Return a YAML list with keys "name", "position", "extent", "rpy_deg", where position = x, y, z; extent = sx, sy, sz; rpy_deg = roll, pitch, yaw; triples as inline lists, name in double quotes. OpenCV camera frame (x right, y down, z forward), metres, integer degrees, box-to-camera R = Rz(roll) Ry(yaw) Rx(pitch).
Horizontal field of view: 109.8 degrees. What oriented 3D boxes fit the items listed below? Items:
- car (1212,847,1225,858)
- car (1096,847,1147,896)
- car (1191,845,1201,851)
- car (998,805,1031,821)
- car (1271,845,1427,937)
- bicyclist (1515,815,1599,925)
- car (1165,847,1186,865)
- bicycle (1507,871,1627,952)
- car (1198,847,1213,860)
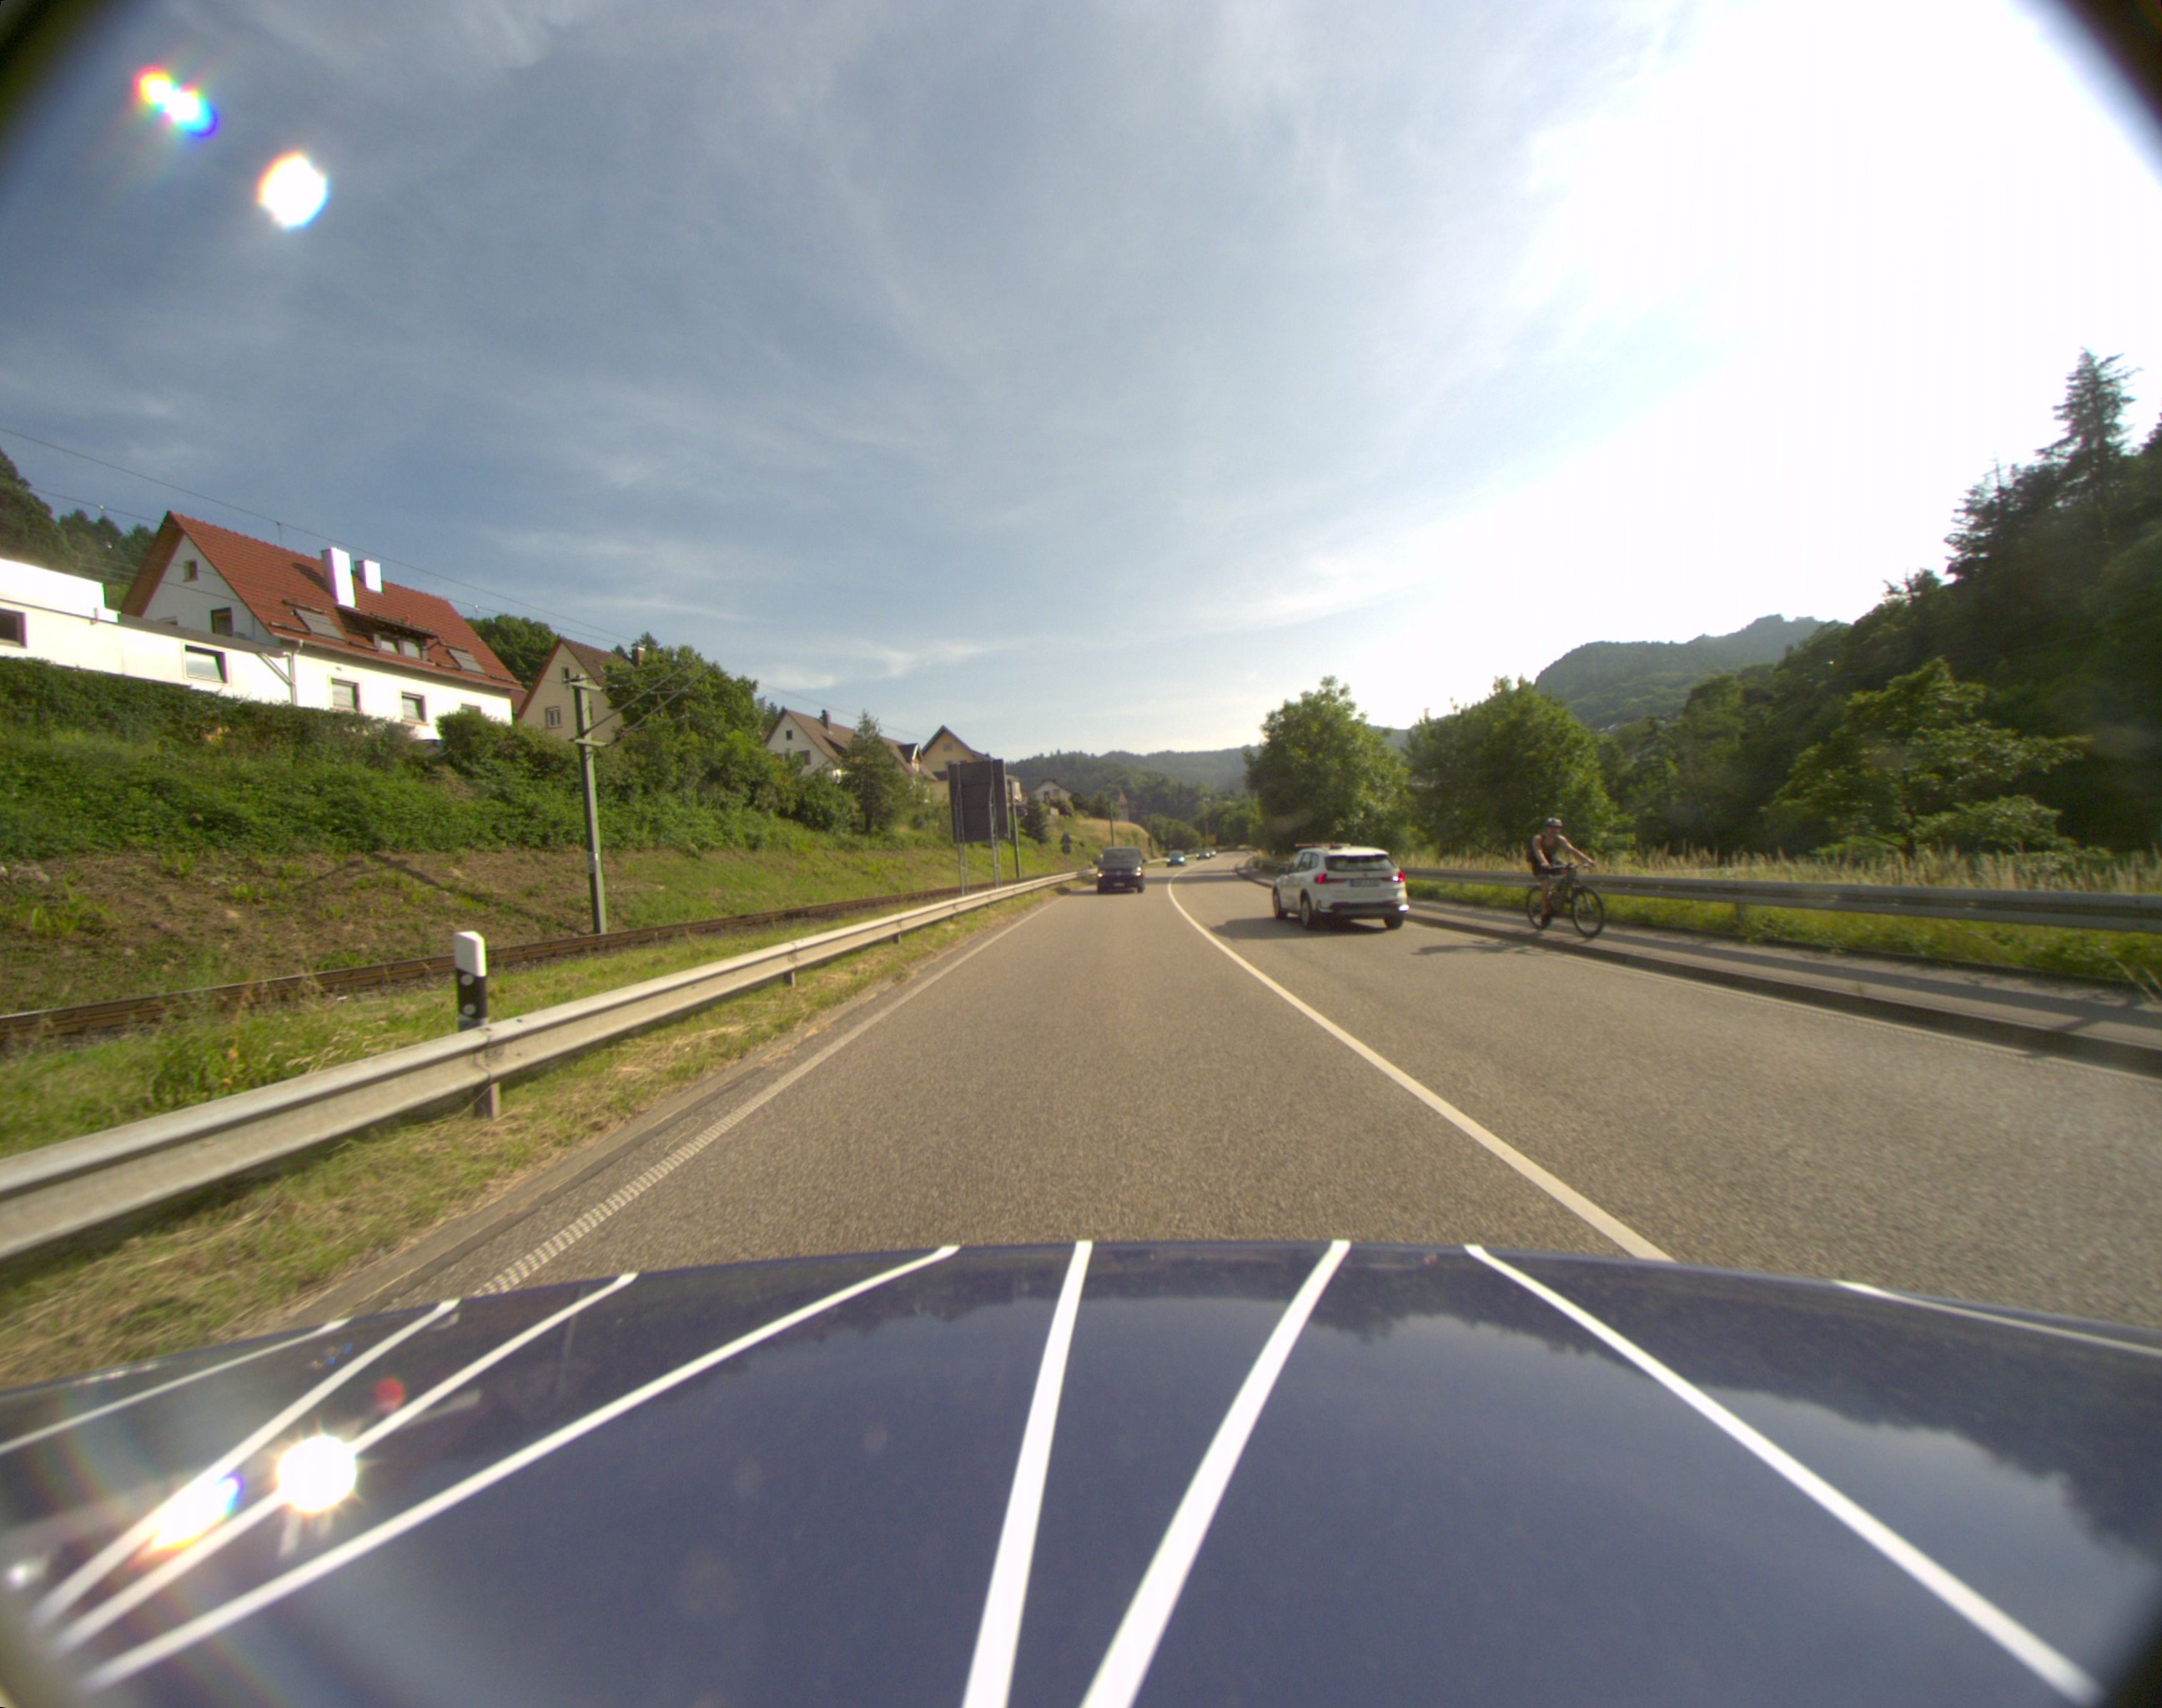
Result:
- name: "car"
  position: [22.965, -0.290, 126.570]
  extent: [1.883, 1.735, 4.182]
  rpy_deg: [-2, 0, 13]
- name: "car"
  position: [1.794, 0.671, 32.409]
  extent: [2.017, 1.905, 4.313]
  rpy_deg: [-1, 1, 5]
- name: "car"
  position: [30.063, -1.471, 199.239]
  extent: [1.582, 1.471, 3.997]
  rpy_deg: [-2, 0, -8]
- name: "car"
  position: [-8.285, -5.141, 94.714]
  extent: [3.748, 1.531, 1.753]
  rpy_deg: [-6, 1, 7]
- name: "car"
  position: [5.317, 0.676, 15.669]
  extent: [1.998, 1.620, 4.001]
  rpy_deg: [-1, 0, 4]
- name: "bicyclist"
  position: [7.348, 0.242, 11.775]
  extent: [0.558, 1.577, 1.036]
  rpy_deg: [-6, 0, 6]
- name: "car"
  position: [9.844, 0.171, 78.780]
  extent: [1.883, 1.735, 4.181]
  rpy_deg: [-2, 0, 10]
- name: "bicycle"
  position: [7.406, 0.826, 11.715]
  extent: [0.558, 1.039, 2.231]
  rpy_deg: [-6, -1, 7]
- name: "car"
  position: [17.537, -0.127, 107.069]
  extent: [1.883, 1.735, 4.182]
  rpy_deg: [-2, 0, 11]
